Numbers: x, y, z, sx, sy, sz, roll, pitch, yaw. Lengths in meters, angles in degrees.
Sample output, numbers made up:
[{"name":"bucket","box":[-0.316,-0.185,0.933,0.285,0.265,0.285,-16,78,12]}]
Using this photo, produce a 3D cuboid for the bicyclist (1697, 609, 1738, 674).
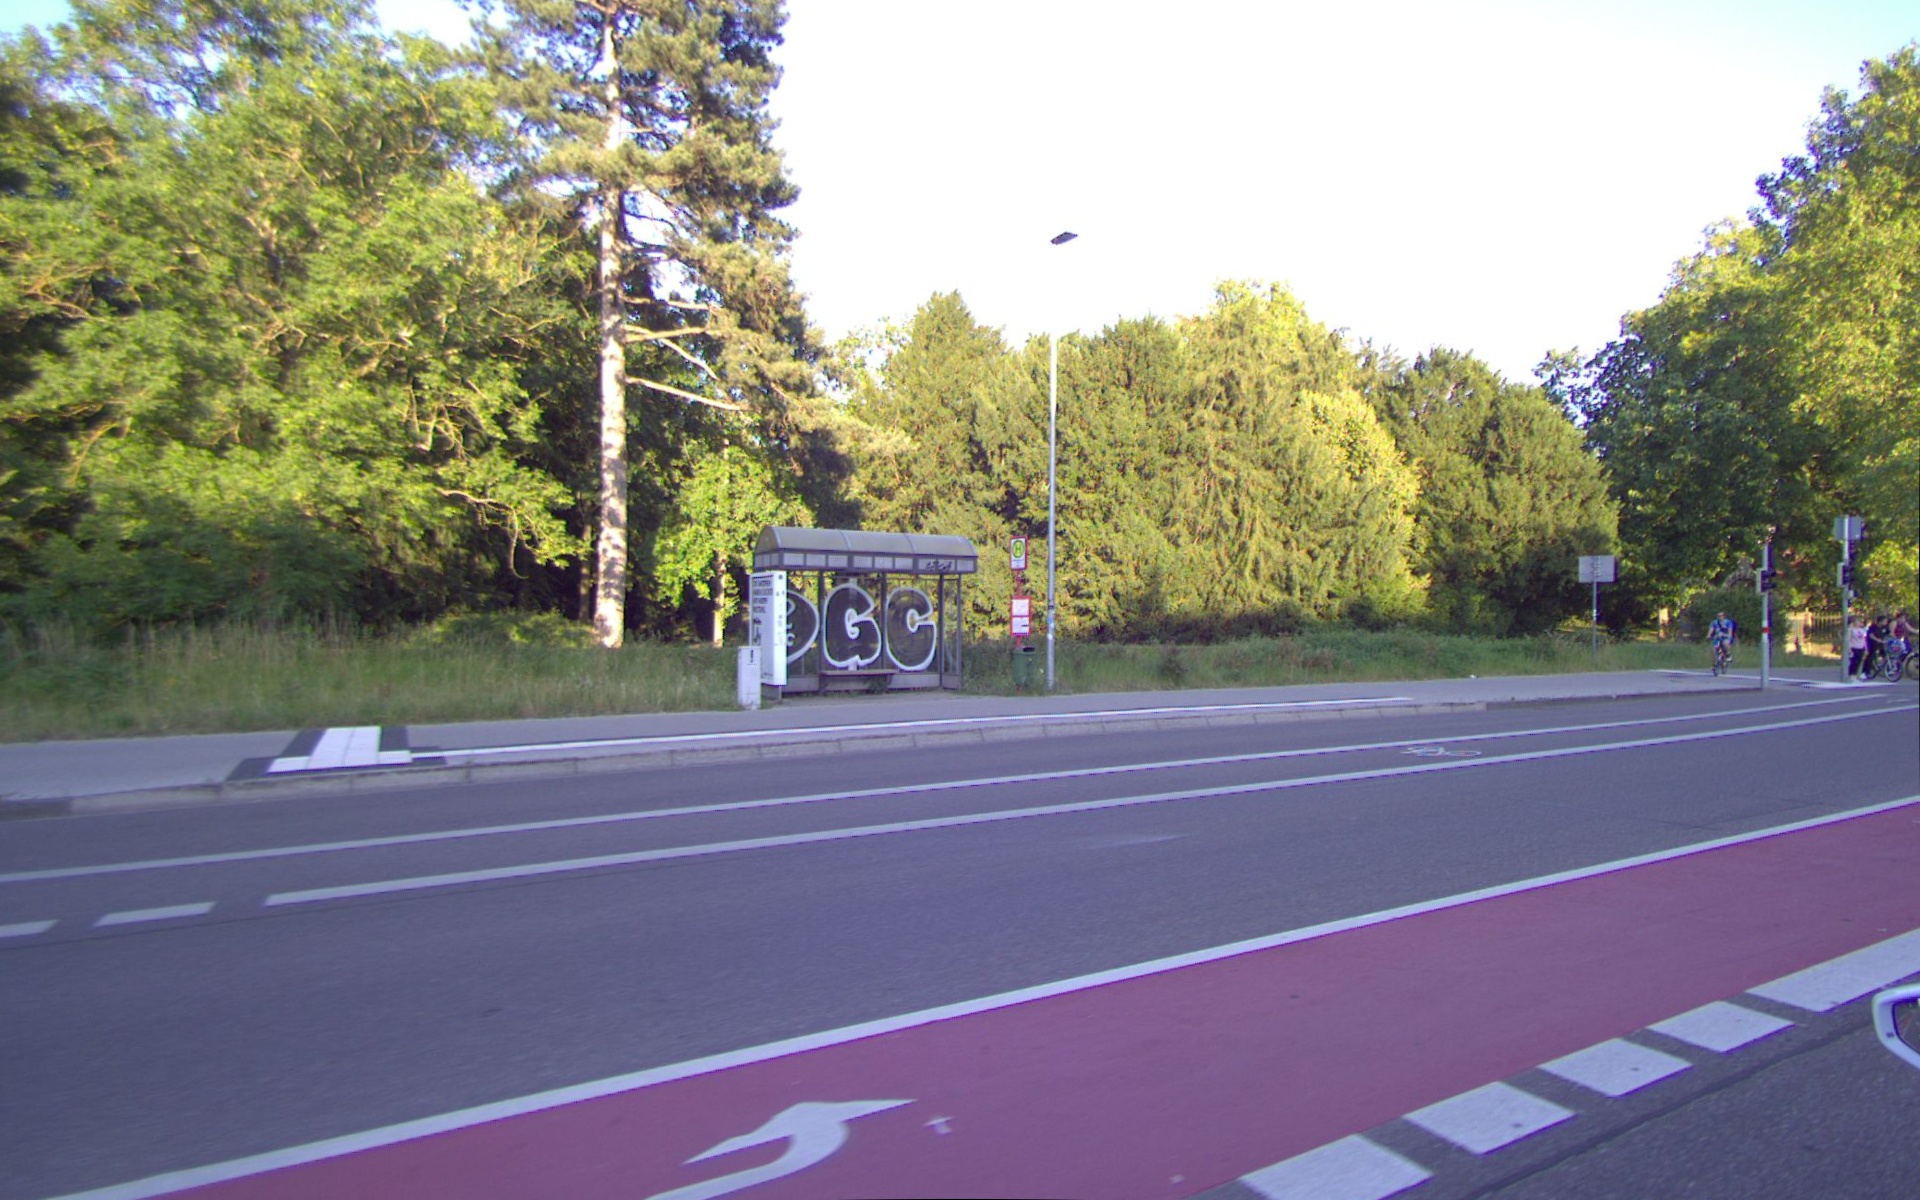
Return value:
[{"name":"bicyclist","box":[22.006,1.203,29.201,0.704,1.848,0.730,1,0,-33]}]

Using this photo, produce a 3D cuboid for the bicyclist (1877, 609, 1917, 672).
[{"name":"bicyclist","box":[27.168,1.156,29.134,0.564,1.804,0.640,1,0,2]}]

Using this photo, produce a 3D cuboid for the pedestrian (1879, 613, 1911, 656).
[{"name":"pedestrian","box":[44.774,1.647,48.106,1.062,2.040,0.758,1,0,-26]}]

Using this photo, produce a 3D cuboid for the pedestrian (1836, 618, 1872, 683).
[{"name":"pedestrian","box":[24.059,1.340,27.033,0.492,1.718,0.605,1,0,-27]}]

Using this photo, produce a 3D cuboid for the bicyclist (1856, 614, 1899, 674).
[{"name":"bicyclist","box":[25.789,1.225,28.243,0.618,1.671,0.640,1,0,2]}]

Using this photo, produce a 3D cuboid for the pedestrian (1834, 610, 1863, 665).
[{"name":"pedestrian","box":[33.746,1.400,38.154,0.638,2.040,0.606,1,1,23]}]

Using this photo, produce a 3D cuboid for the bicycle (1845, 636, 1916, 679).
[{"name":"bicycle","box":[25.783,1.602,28.167,0.620,1.126,1.569,1,-1,3]}]

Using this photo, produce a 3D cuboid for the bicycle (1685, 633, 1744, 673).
[{"name":"bicycle","box":[21.910,1.524,29.162,2.101,1.115,0.765,1,-1,-35]}]

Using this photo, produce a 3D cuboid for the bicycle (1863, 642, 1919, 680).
[{"name":"bicycle","box":[27.157,1.749,29.040,0.568,1.043,1.772,1,-1,3]}]
